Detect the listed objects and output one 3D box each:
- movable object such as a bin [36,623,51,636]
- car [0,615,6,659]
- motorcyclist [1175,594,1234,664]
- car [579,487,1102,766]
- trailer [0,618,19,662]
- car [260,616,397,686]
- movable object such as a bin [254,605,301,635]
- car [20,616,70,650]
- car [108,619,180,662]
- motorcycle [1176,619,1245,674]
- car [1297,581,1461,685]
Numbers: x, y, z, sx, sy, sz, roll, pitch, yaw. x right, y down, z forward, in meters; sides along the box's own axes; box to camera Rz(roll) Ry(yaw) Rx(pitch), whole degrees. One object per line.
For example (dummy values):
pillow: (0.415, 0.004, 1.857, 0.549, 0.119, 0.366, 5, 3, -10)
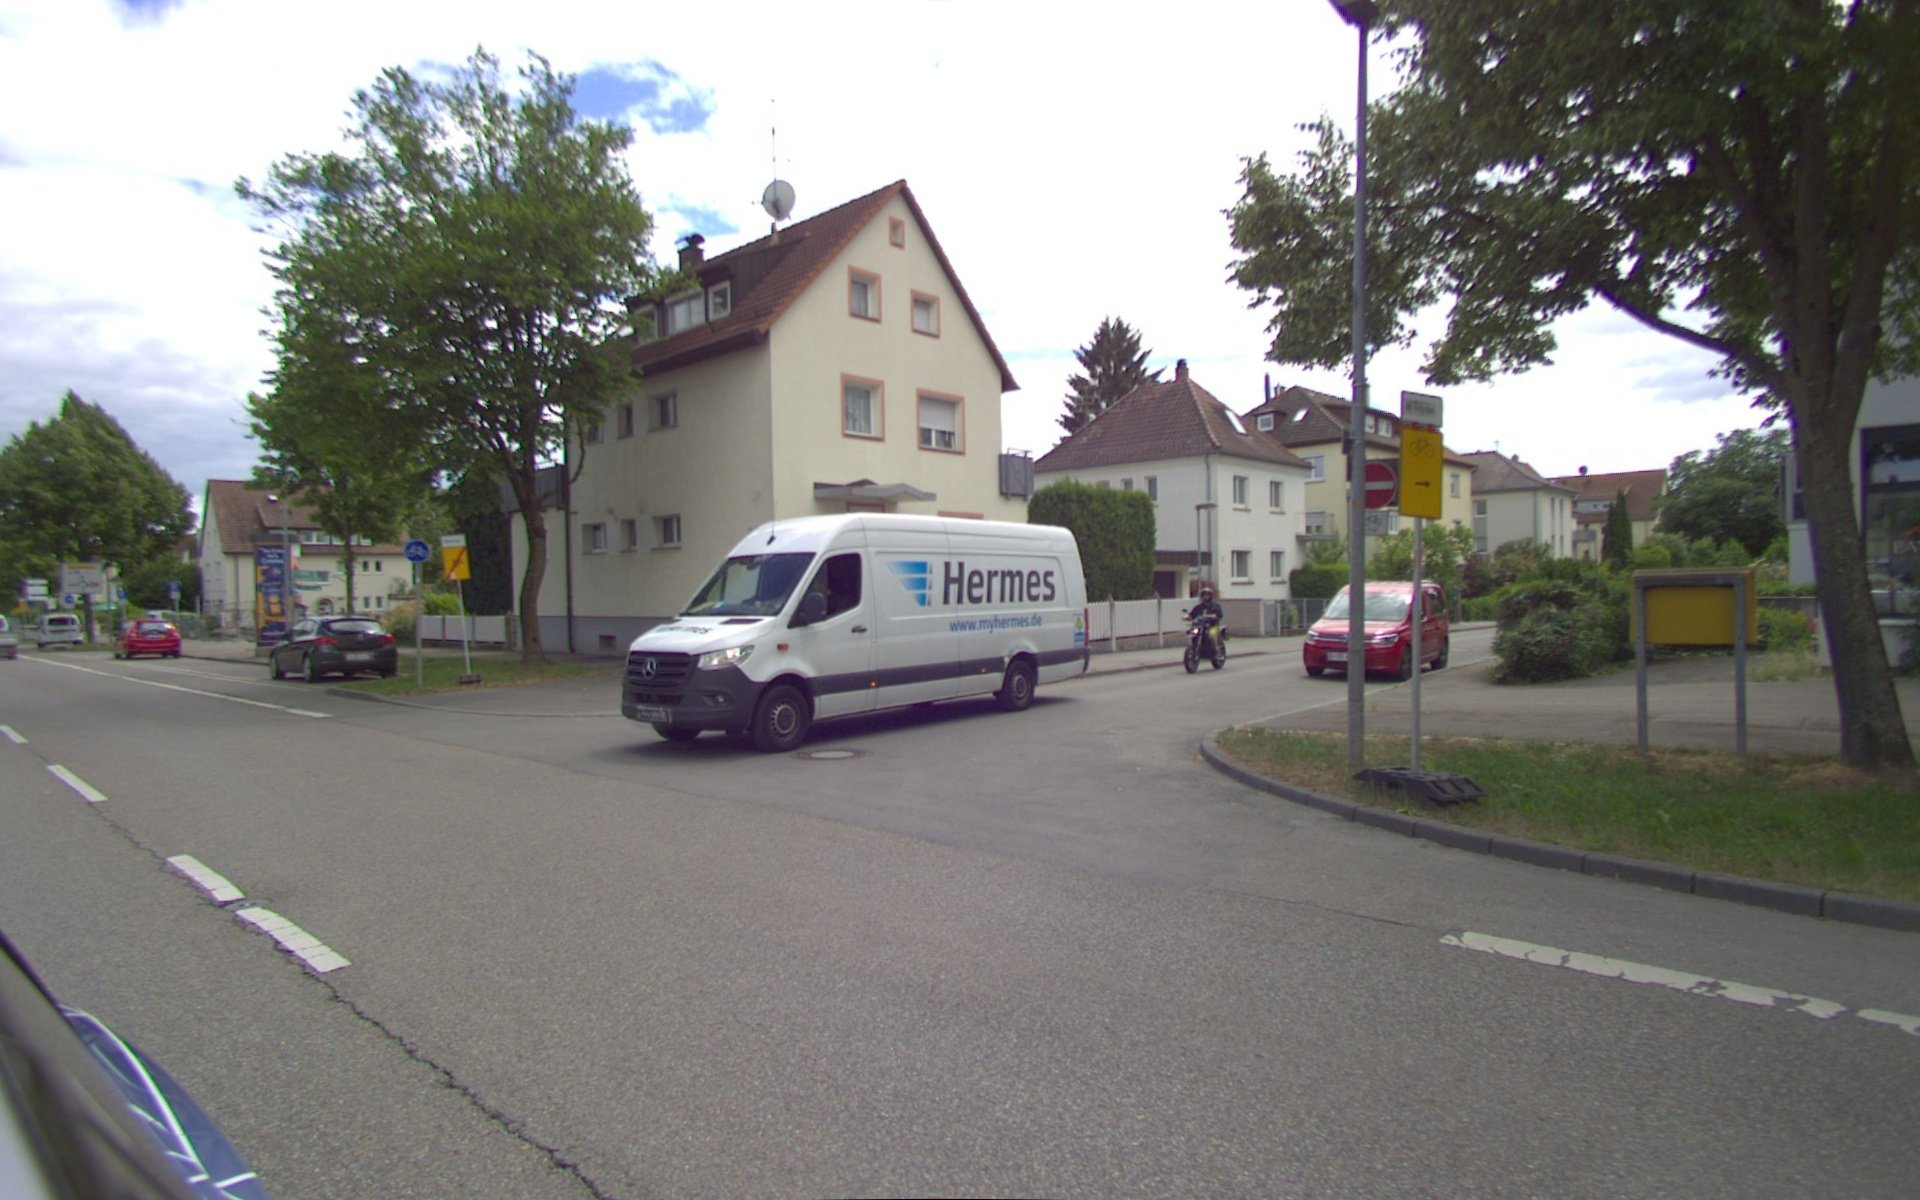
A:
movable object such as a bin: (-101.298, 3.266, 111.817, 2.722, 1.427, 0.971, -2, 0, 43)
car: (-42.633, 1.612, 43.545, 4.817, 1.844, 1.945, -2, -1, 42)
motorcyclist: (4.983, 0.567, 20.597, 0.753, 1.375, 1.095, -1, -1, 40)
car: (-0.988, 0.231, 13.009, 2.217, 2.614, 7.219, -2, 0, 38)
trailer: (-39.111, 1.600, 40.364, 4.687, 1.689, 1.917, -2, -1, 42)
car: (-14.952, 1.153, 23.873, 4.301, 1.480, 1.712, -2, -1, 43)
movable object such as a bin: (-52.968, 1.545, 78.509, 4.359, 2.204, 1.877, -1, 0, 40)
car: (-51.102, 1.803, 56.520, 4.552, 1.784, 1.751, -2, 0, 44)
car: (-31.631, 1.553, 39.191, 4.133, 1.553, 1.666, -2, -1, 44)
motorcycle: (5.174, 0.928, 20.813, 0.480, 1.039, 2.091, -1, 0, 40)
car: (8.262, 0.554, 19.758, 1.870, 1.791, 4.306, 1, 0, 38)
